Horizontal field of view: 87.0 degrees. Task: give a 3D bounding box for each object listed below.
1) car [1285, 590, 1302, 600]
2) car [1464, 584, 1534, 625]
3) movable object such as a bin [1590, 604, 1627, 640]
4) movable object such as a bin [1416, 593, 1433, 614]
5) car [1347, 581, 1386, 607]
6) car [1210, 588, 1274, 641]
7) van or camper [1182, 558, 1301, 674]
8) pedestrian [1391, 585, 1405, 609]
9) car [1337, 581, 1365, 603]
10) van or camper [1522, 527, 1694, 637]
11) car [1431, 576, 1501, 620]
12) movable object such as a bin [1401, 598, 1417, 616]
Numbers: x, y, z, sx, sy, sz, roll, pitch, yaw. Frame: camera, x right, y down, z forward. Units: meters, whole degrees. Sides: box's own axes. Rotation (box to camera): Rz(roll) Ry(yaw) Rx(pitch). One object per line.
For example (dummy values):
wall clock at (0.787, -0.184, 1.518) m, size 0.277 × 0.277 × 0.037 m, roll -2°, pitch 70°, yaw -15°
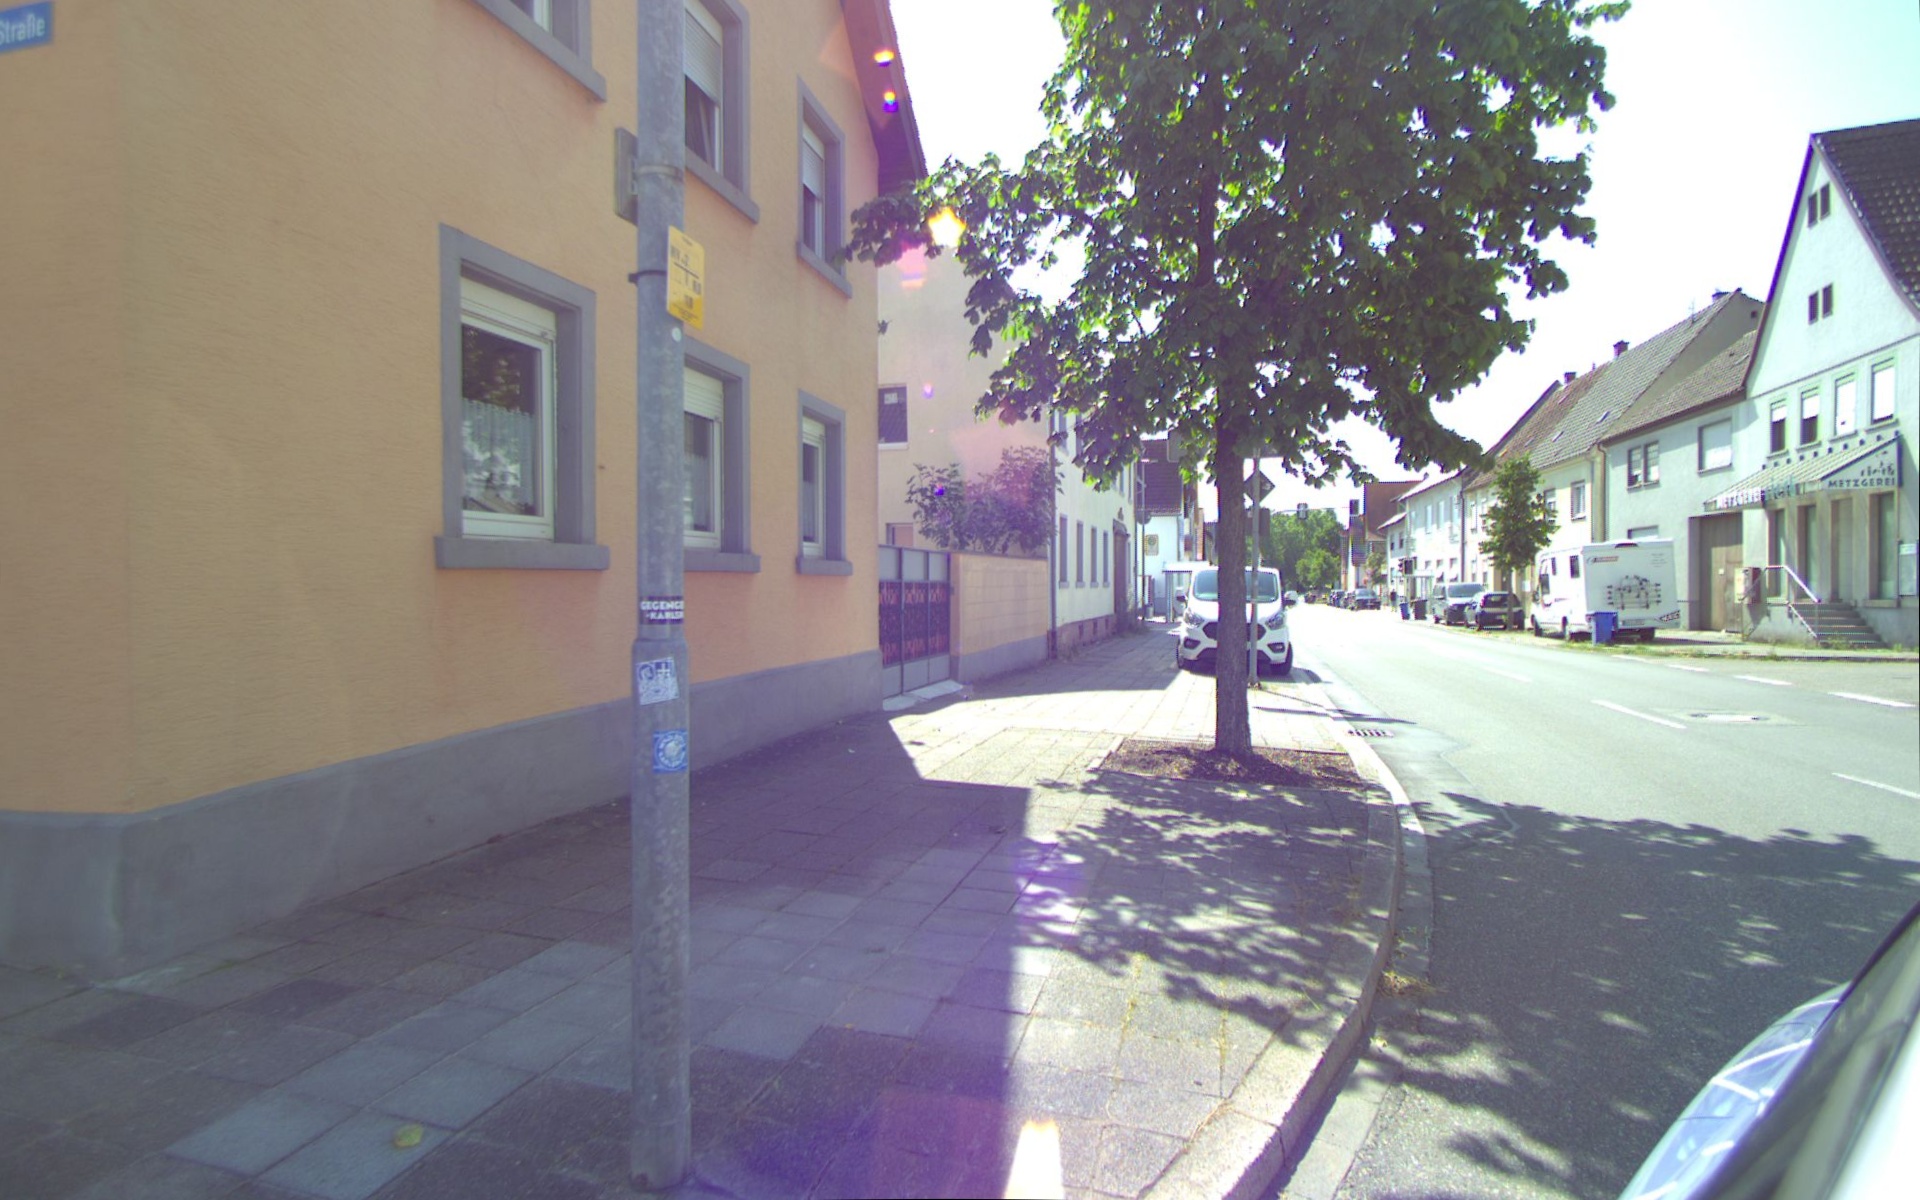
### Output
car at (50.012, -0.741, 151.732) m, size 1.979 × 1.549 × 3.966 m, roll 0°, pitch 1°, yaw 25°
car at (21.177, 0.146, 39.858) m, size 1.667 × 1.501 × 3.601 m, roll 0°, pitch 1°, yaw 16°
movable object such as a bin at (16.377, 0.560, 25.567) m, size 0.635 × 0.883 × 0.611 m, roll 0°, pitch 0°, yaw 15°
movable object such as a bin at (24.262, 0.158, 52.837) m, size 0.708 × 1.080 × 0.548 m, roll 0°, pitch 0°, yaw 14°
car at (30.749, -0.464, 76.600) m, size 2.325 × 1.871 × 4.929 m, roll 0°, pitch 1°, yaw 17°
car at (8.356, 0.389, 30.174) m, size 1.709 × 1.445 × 3.968 m, roll 0°, pitch 1°, yaw 14°
van or camper at (5.508, 0.220, 20.089) m, size 1.971 × 1.978 × 5.322 m, roll 0°, pitch 1°, yaw 14°
pedestrian at (28.964, -0.218, 66.953) m, size 0.742 × 1.551 × 0.578 m, roll -1°, pitch 0°, yaw 15°
car at (35.513, -0.755, 91.958) m, size 1.973 × 1.871 × 4.929 m, roll 0°, pitch 1°, yaw 17°
van or camper at (19.416, -0.530, 30.798) m, size 2.419 × 2.941 × 7.033 m, roll 0°, pitch 1°, yaw 16°
car at (22.593, -0.118, 45.369) m, size 1.973 × 1.871 × 4.929 m, roll 0°, pitch 1°, yaw 17°
movable object such as a bin at (24.088, 0.378, 54.275) m, size 0.708 × 0.924 × 0.548 m, roll 0°, pitch 0°, yaw 14°
